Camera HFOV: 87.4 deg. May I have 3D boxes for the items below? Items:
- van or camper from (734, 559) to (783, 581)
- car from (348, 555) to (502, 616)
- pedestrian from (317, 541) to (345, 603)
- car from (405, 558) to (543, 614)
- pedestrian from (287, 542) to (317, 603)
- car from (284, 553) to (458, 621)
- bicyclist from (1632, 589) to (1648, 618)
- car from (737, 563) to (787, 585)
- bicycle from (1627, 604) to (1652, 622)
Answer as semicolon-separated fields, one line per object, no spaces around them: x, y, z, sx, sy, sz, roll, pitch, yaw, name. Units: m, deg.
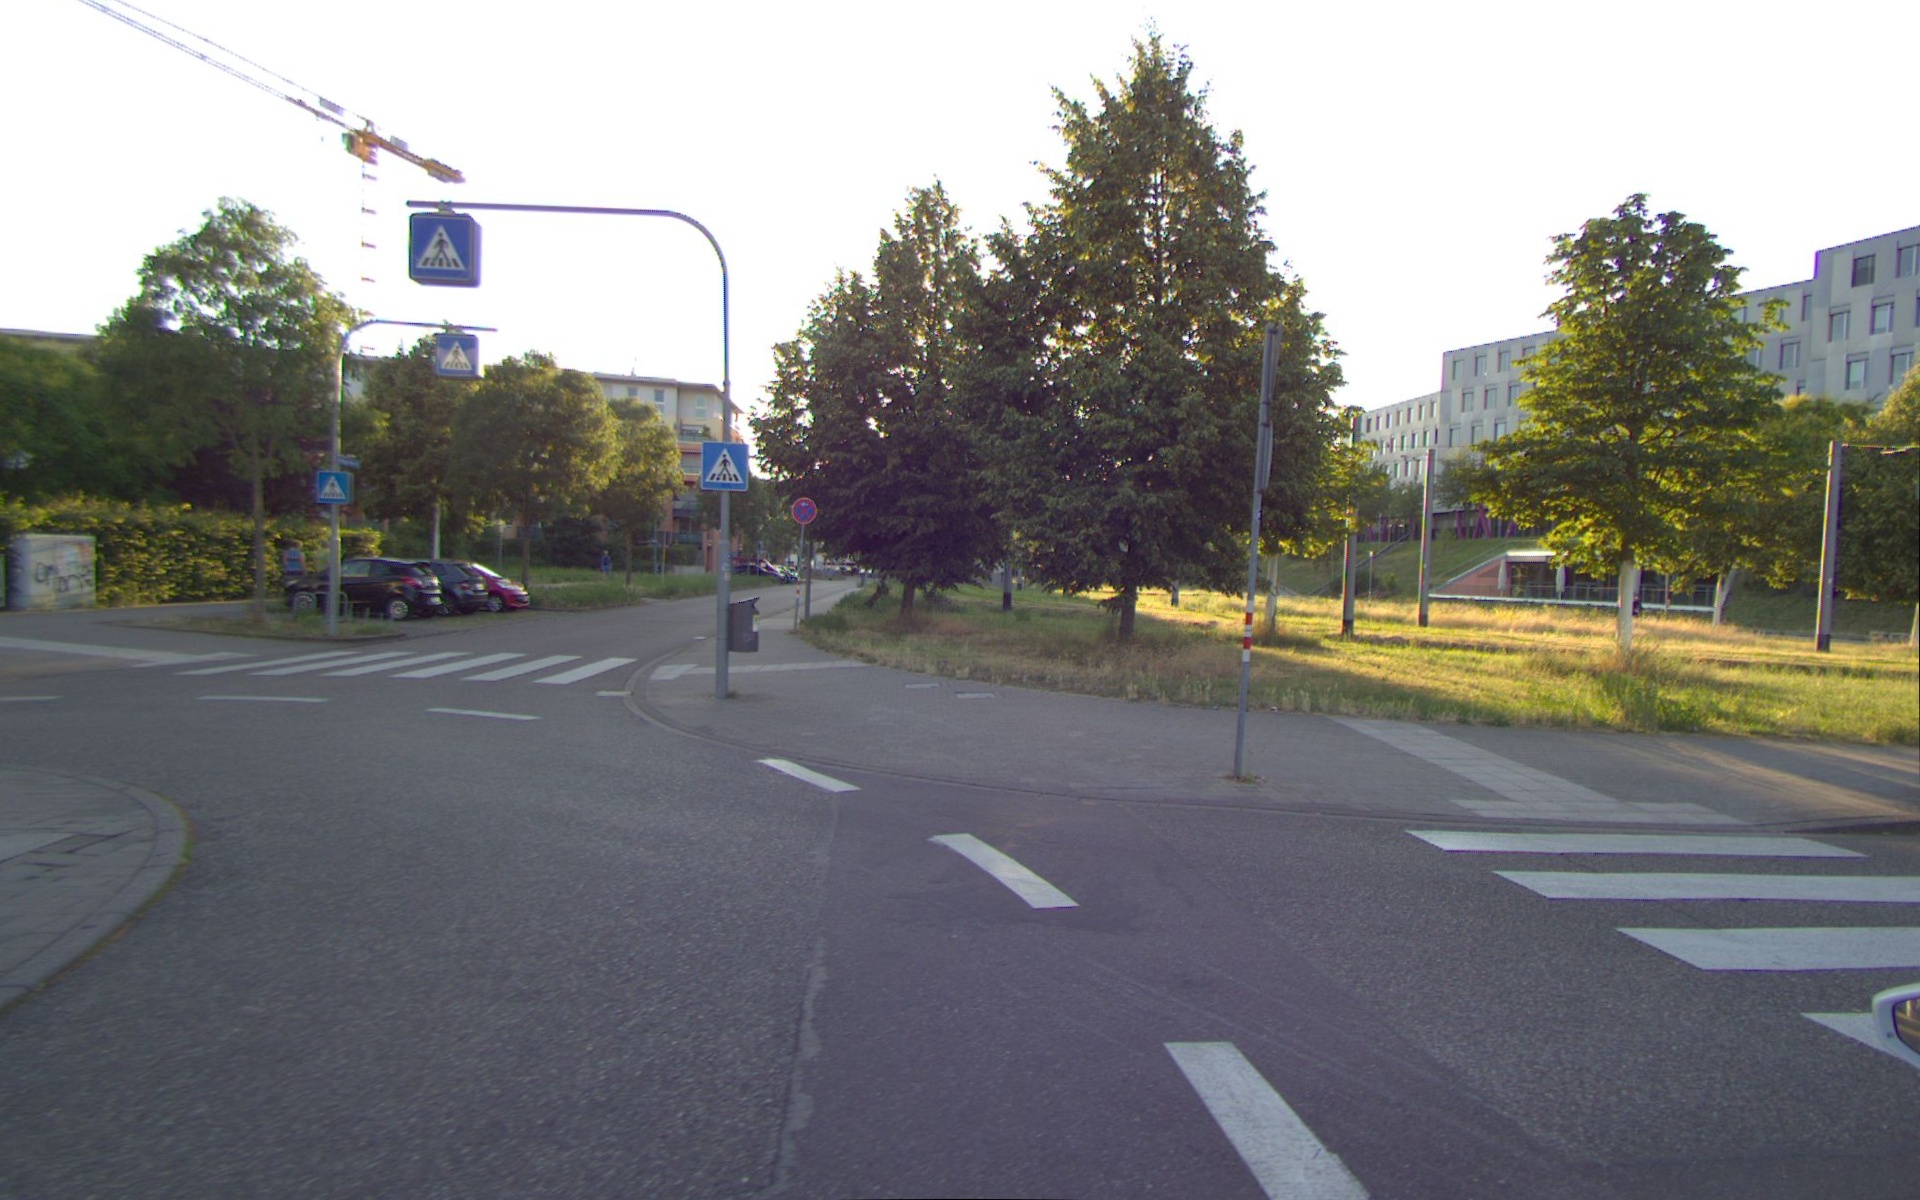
-16.786;-2.505;83.766;3.807;1.717;1.832;1;2;-7;van or camper
-14.633;-0.403;27.624;3.345;1.520;1.593;2;2;-4;car
-17.464;-0.777;27.903;0.617;1.690;0.737;0;4;-30;pedestrian
-14.547;-0.434;30.215;3.345;1.520;1.593;2;2;-4;car
-17.972;-0.752;27.433;0.649;1.621;0.707;0;4;-31;pedestrian
-14.777;-0.347;25.334;3.345;1.542;1.690;2;2;-4;car
36.280;0.197;53.592;0.416;1.515;0.513;1;2;-5;bicyclist
-16.014;-2.118;81.382;3.809;1.717;1.700;1;2;-9;car
36.273;0.699;53.624;0.423;0.912;1.234;1;2;-6;bicycle
